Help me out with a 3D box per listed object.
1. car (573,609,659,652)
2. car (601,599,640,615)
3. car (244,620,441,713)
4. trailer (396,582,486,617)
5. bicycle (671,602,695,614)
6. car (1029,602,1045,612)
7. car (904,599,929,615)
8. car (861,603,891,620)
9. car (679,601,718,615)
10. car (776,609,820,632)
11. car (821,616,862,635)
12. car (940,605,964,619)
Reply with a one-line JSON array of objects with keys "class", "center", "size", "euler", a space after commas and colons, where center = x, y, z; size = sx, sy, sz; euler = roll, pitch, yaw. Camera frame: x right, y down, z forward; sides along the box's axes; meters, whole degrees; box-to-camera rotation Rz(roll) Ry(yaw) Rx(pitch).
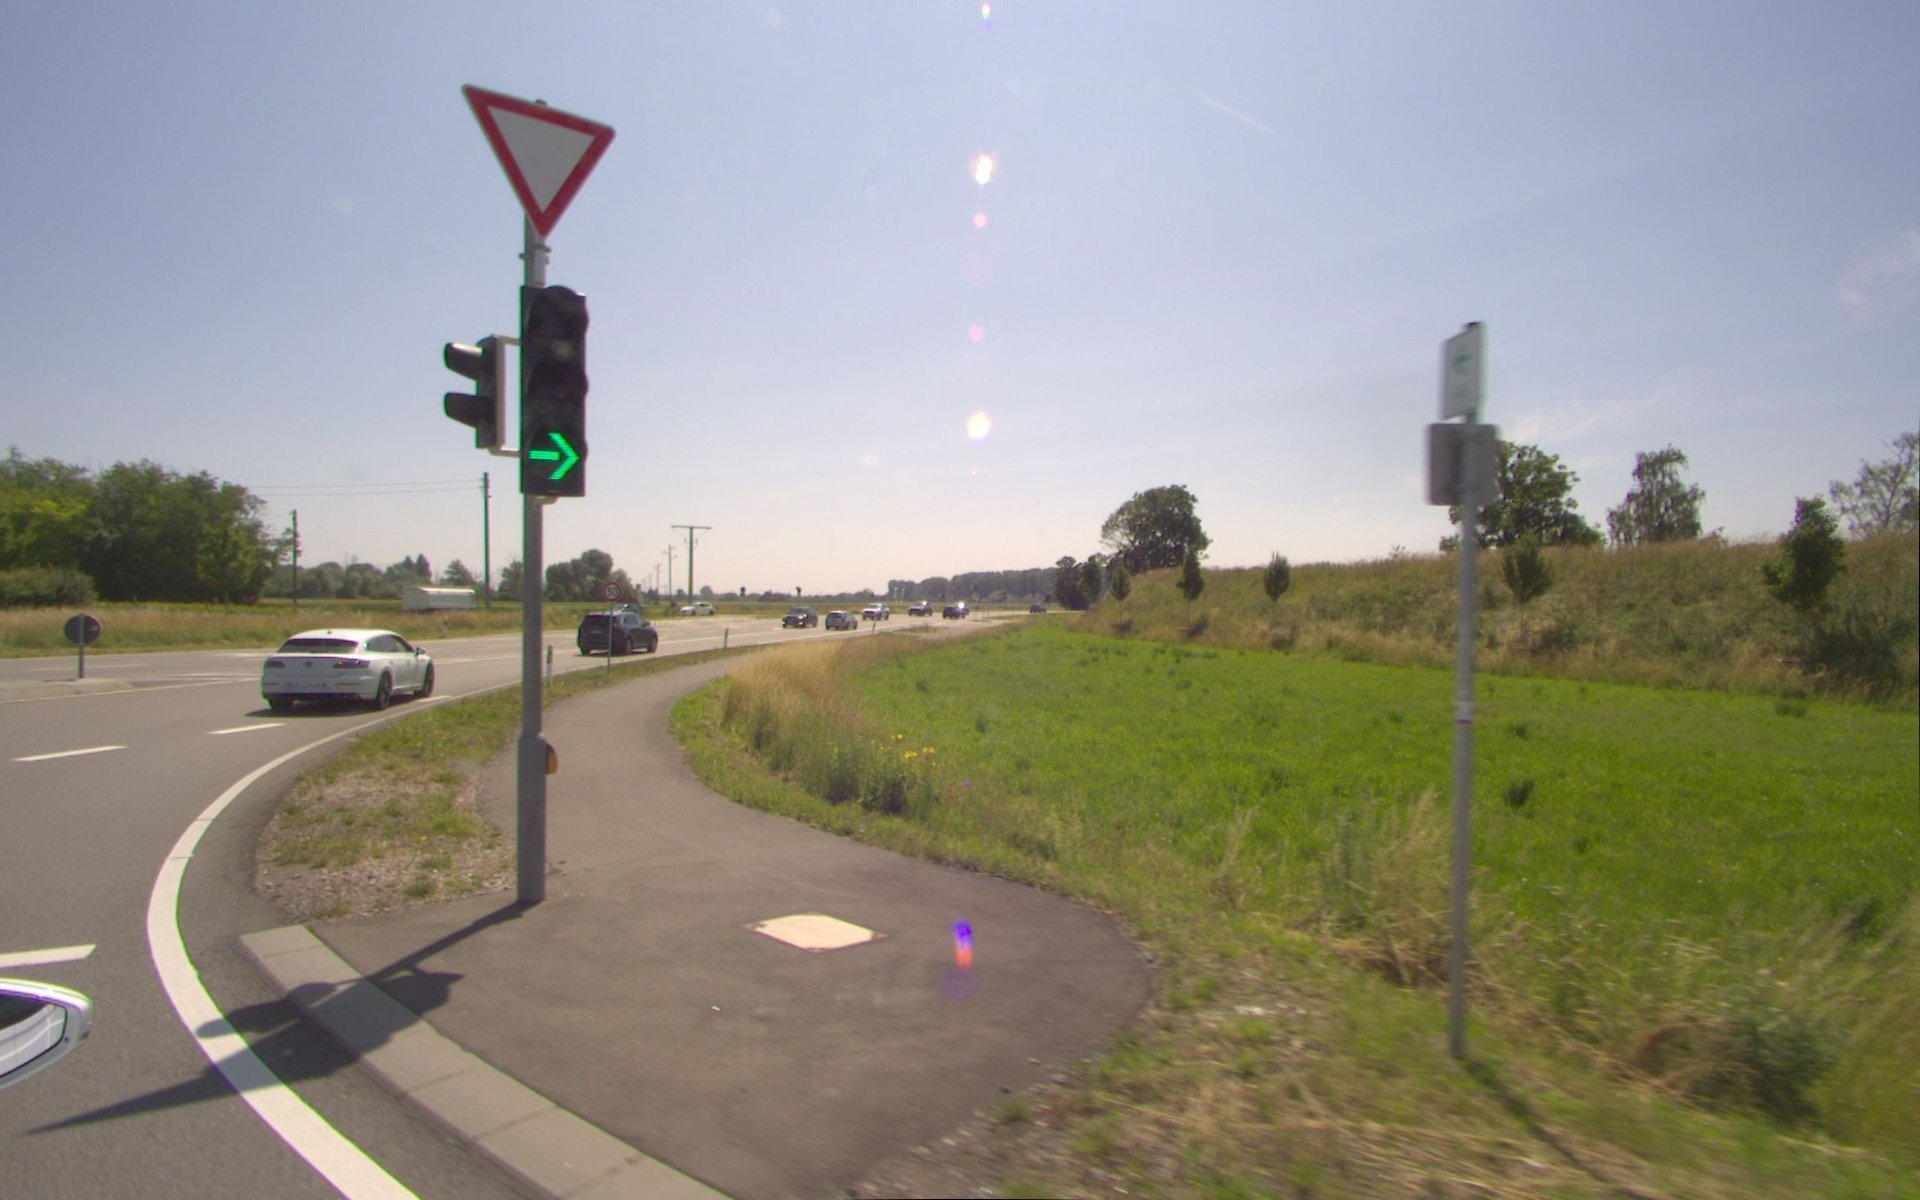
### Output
[{"class": "car", "center": [-13.736, 1.225, 40.302], "size": [1.903, 1.637, 4.380], "euler": [0, -2, 1]}, {"class": "car", "center": [-32.253, 0.700, 95.200], "size": [1.648, 1.405, 3.835], "euler": [2, -1, 15]}, {"class": "car", "center": [-11.529, 1.173, 19.099], "size": [1.820, 1.452, 4.602], "euler": [2, -1, -14]}, {"class": "trailer", "center": [-39.309, -0.010, 76.054], "size": [2.635, 2.488, 6.378], "euler": [2, 0, 12]}, {"class": "bicycle", "center": [-32.909, 0.964, 118.950], "size": [2.566, 1.389, 0.902], "euler": [0, -2, -4]}, {"class": "car", "center": [11.915, 1.093, 154.772], "size": [1.772, 1.541, 3.880], "euler": [-1, -1, 13]}, {"class": "car", "center": [-5.323, 0.881, 122.345], "size": [2.046, 1.746, 4.413], "euler": [0, -2, 11]}, {"class": "car", "center": [-8.622, 1.192, 103.225], "size": [1.848, 1.672, 4.841], "euler": [2, 0, 11]}, {"class": "car", "center": [-28.285, 0.831, 108.331], "size": [1.673, 1.349, 4.015], "euler": [2, 0, 34]}, {"class": "car", "center": [-12.770, 1.621, 79.161], "size": [1.836, 1.672, 4.323], "euler": [2, 0, 13]}, {"class": "car", "center": [-9.214, 2.031, 78.118], "size": [1.772, 1.447, 4.090], "euler": [0, -2, 14]}, {"class": "car", "center": [-0.905, 1.372, 115.756], "size": [1.772, 1.495, 4.412], "euler": [-1, -2, 14]}]
